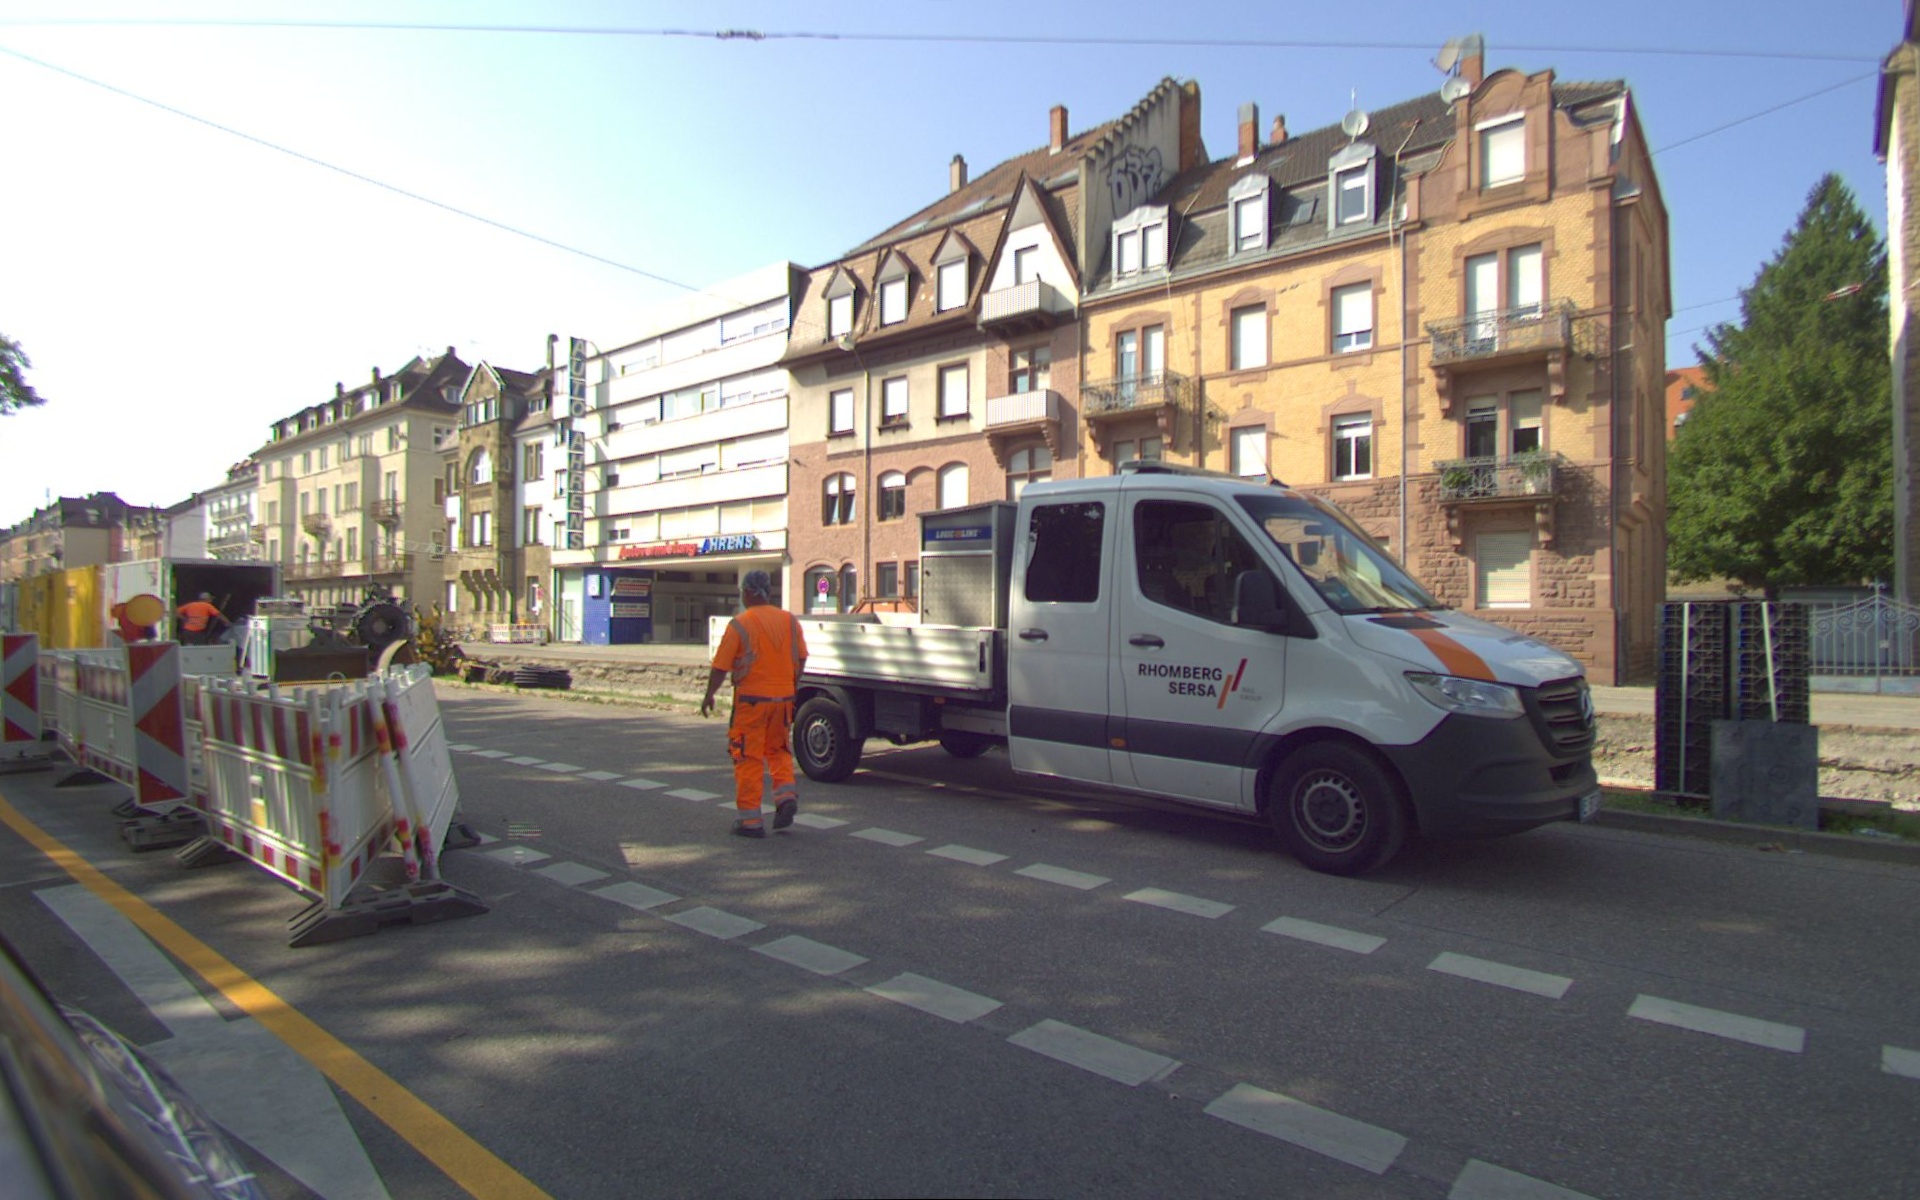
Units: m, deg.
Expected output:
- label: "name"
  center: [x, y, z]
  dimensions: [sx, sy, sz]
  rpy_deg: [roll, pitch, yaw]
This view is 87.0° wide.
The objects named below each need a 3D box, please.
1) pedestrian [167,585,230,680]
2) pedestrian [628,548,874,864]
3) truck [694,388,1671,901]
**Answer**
- label: "pedestrian"
  center: [-16.726, 0.699, 22.249]
  dimensions: [0.896, 2.029, 0.915]
  rpy_deg: [-1, 1, -23]
- label: "pedestrian"
  center: [-1.286, 0.597, 6.278]
  dimensions: [1.094, 1.723, 1.021]
  rpy_deg: [-1, -2, 39]
- label: "truck"
  center: [0.906, 0.266, 7.603]
  dimensions: [7.049, 2.239, 2.134]
  rpy_deg: [-1, -3, 43]
